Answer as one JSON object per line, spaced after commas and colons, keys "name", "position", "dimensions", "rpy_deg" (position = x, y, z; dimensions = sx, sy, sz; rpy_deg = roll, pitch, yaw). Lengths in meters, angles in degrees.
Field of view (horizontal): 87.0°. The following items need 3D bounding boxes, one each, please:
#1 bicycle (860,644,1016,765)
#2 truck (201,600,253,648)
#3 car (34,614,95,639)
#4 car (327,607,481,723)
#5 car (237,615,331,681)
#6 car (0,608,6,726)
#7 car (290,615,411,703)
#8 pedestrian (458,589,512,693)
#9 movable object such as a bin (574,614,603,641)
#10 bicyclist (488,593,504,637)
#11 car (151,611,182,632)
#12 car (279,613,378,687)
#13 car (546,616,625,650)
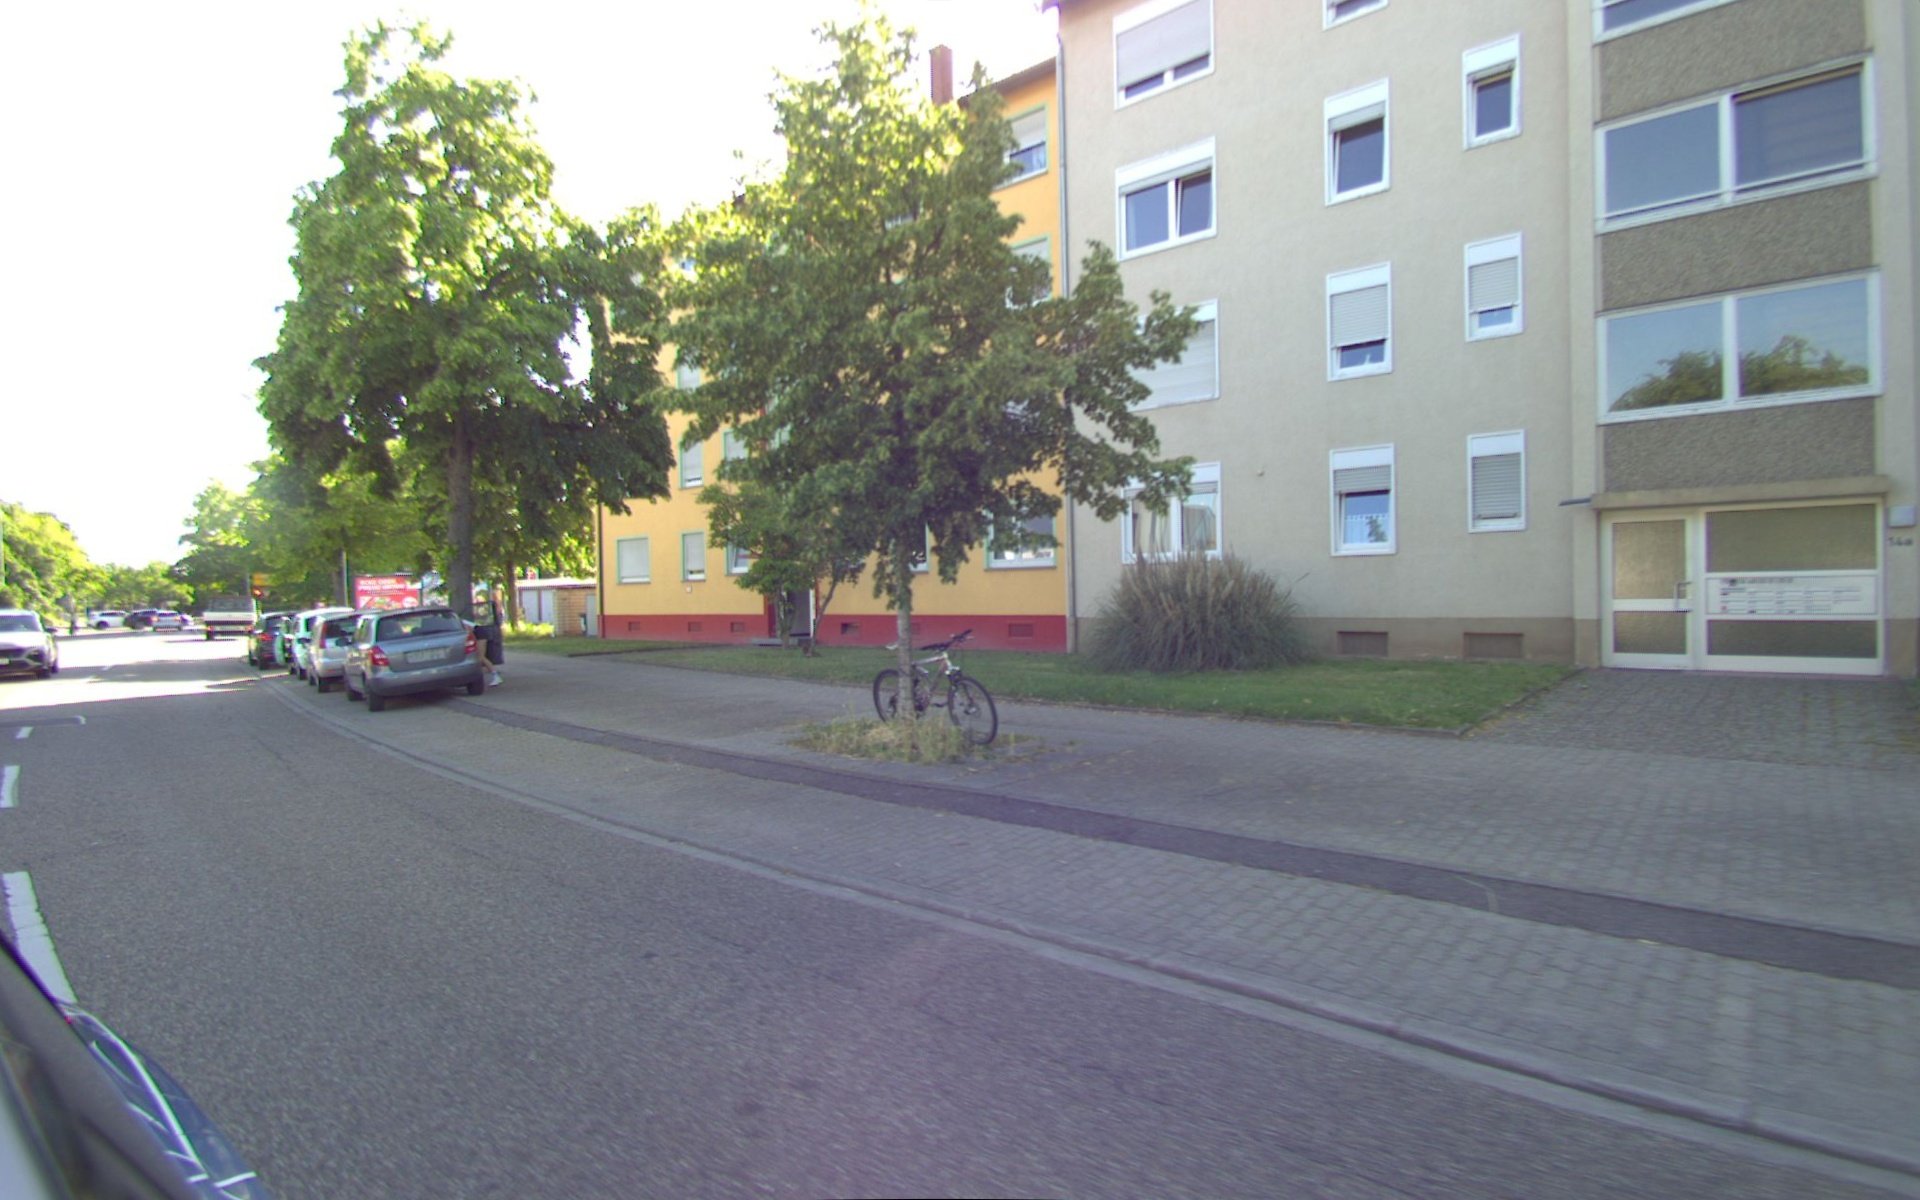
{"name": "bicycle", "position": [-0.253, 0.917, 9.380], "dimensions": [0.362, 0.976, 1.888], "rpy_deg": [0, -1, -39]}
{"name": "truck", "position": [-38.348, 1.208, 53.017], "dimensions": [2.101, 2.352, 6.458], "rpy_deg": [0, -1, -36]}
{"name": "car", "position": [-78.205, 2.293, 88.399], "dimensions": [3.941, 2.029, 2.001], "rpy_deg": [-2, 0, -44]}
{"name": "car", "position": [-9.185, 0.976, 16.572], "dimensions": [1.548, 1.541, 3.926], "rpy_deg": [-6, 2, -37]}
{"name": "car", "position": [-18.765, 1.262, 28.012], "dimensions": [1.679, 1.491, 4.059], "rpy_deg": [-3, 3, -40]}
{"name": "car", "position": [-13.323, 0.962, 12.317], "dimensions": [1.962, 1.652, 4.374], "rpy_deg": [-2, 1, -37]}
{"name": "car", "position": [-12.235, 1.088, 20.217], "dimensions": [1.636, 1.521, 4.009], "rpy_deg": [-2, 0, -37]}
{"name": "pedestrian", "position": [-8.152, 0.684, 17.363], "dimensions": [0.677, 1.731, 0.722], "rpy_deg": [0, 1, -39]}
{"name": "movable object such as a bin", "position": [-12.997, 0.958, 35.373], "dimensions": [0.746, 0.917, 0.689], "rpy_deg": [-2, -1, 44]}
{"name": "bicyclist", "position": [-18.474, 0.591, 40.298], "dimensions": [0.379, 1.698, 0.387], "rpy_deg": [-3, -1, 20]}
{"name": "car", "position": [-60.141, 1.633, 76.670], "dimensions": [1.813, 1.500, 4.898], "rpy_deg": [0, -1, -39]}
{"name": "car", "position": [-15.197, 1.130, 24.265], "dimensions": [1.678, 1.534, 4.061], "rpy_deg": [1, 0, -37]}
{"name": "car", "position": [-17.649, 1.559, 47.614], "dimensions": [3.877, 1.475, 1.712], "rpy_deg": [-2, -1, 39]}
